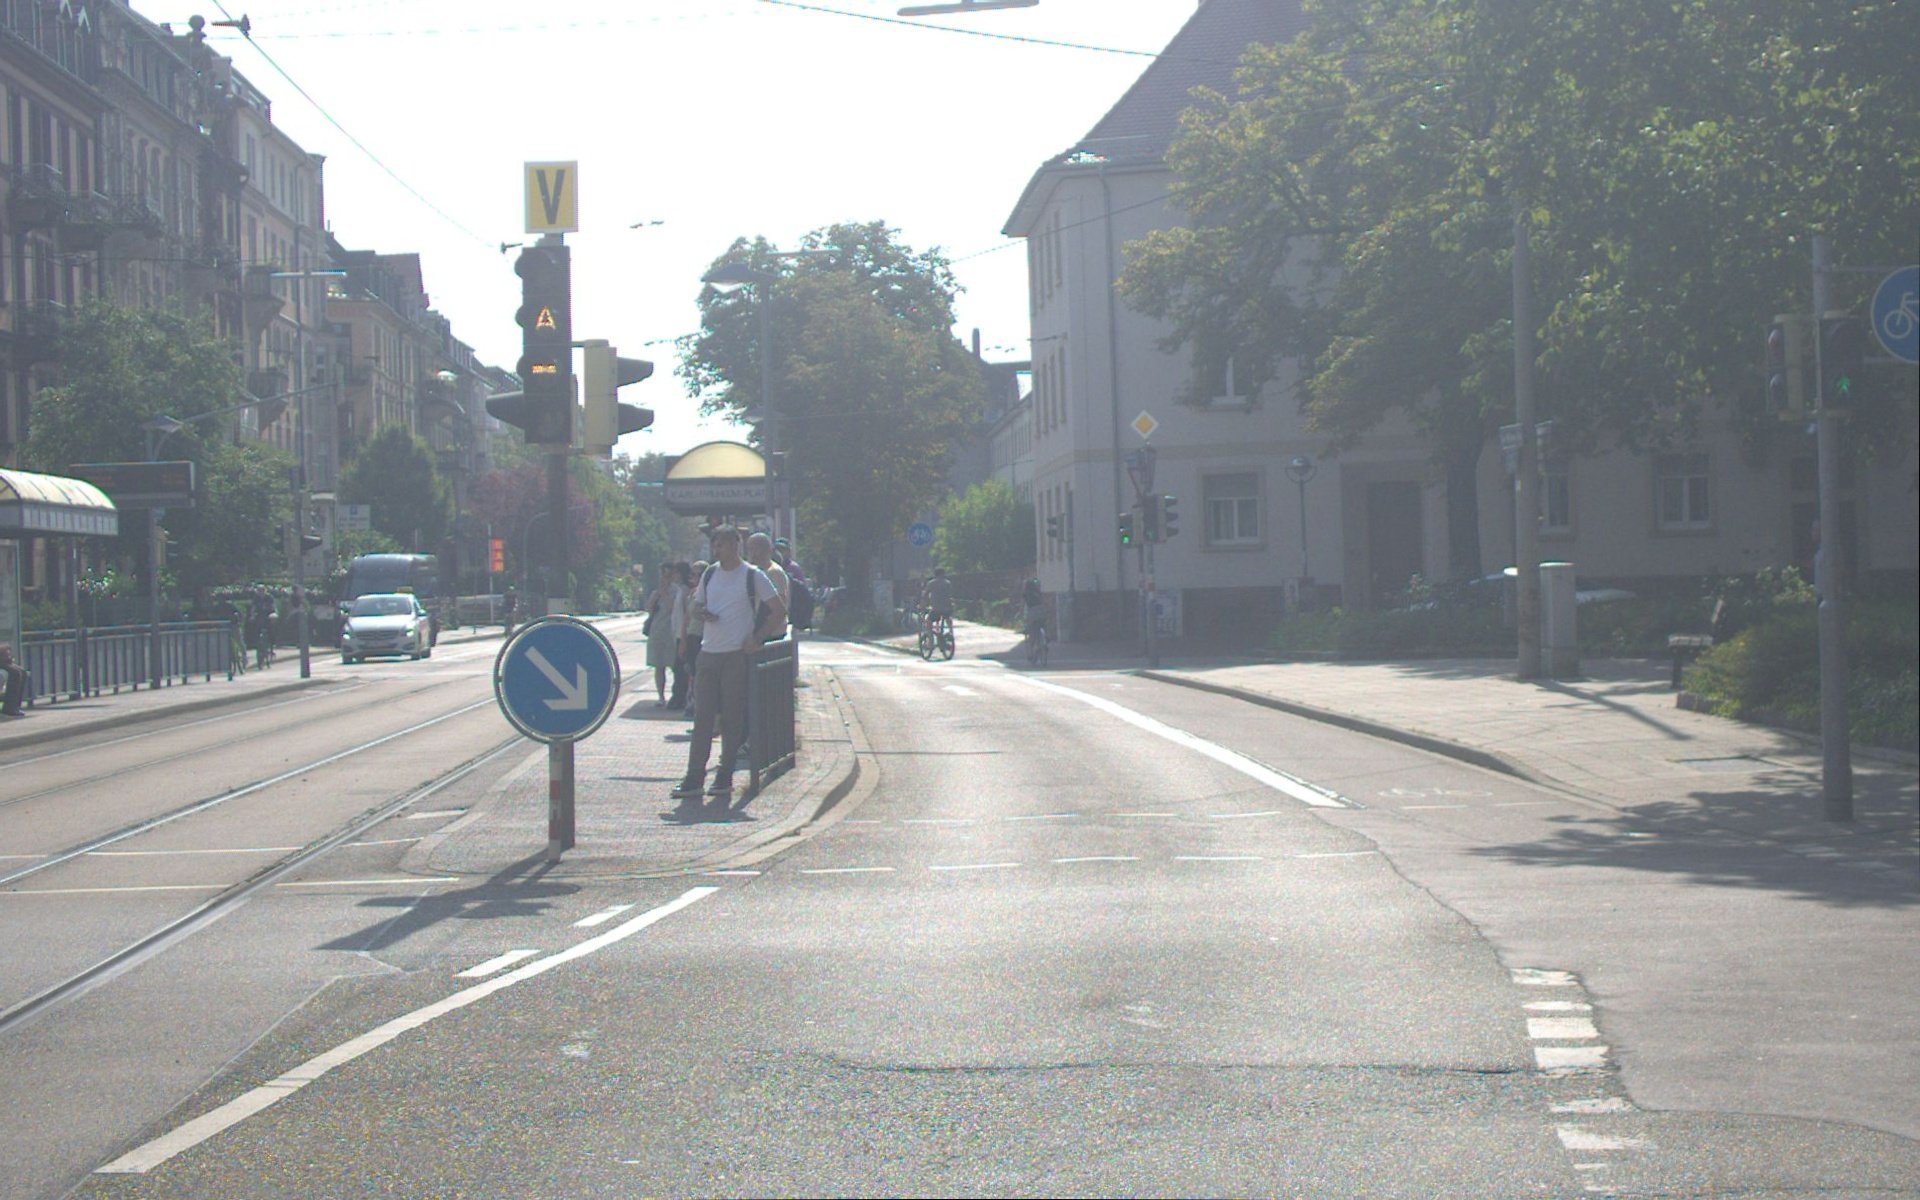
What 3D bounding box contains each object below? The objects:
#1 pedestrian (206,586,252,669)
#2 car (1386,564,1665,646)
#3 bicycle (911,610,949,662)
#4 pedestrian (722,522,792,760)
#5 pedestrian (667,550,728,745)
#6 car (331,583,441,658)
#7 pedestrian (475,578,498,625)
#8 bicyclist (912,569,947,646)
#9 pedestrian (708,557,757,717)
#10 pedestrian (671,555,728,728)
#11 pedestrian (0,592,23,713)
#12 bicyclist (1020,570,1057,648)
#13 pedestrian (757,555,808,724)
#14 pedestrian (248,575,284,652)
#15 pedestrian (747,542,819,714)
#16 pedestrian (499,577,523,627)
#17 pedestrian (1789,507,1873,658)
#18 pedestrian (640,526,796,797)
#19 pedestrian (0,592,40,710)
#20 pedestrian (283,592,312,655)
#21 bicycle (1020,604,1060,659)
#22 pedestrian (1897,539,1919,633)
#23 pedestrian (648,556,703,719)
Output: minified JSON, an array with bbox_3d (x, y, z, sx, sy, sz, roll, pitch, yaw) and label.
[{"bbox_3d":[-15.456,0.573,72.714,0.750,1.725,0.771,-2,0,0],"label":"pedestrian"},{"bbox_3d":[9.781,0.092,59.591,4.331,1.316,1.996,-1,0,37],"label":"car"},{"bbox_3d":[-0.594,0.700,67.944,0.629,0.974,1.770,-2,1,-4],"label":"bicycle"},{"bbox_3d":[-1.589,0.317,26.965,0.504,1.827,0.534,1,3,-2],"label":"pedestrian"},{"bbox_3d":[-2.414,0.428,31.650,0.504,1.753,0.534,1,3,-2],"label":"pedestrian"},{"bbox_3d":[-13.290,0.454,79.819,1.801,1.648,3.642,-2,0,2],"label":"car"},{"bbox_3d":[-17.634,0.058,128.079,0.750,1.725,0.772,-2,0,-11],"label":"pedestrian"},{"bbox_3d":[-0.603,0.142,67.938,0.629,1.502,0.678,-2,0,-4],"label":"bicyclist"},{"bbox_3d":[-2.541,0.406,38.466,0.504,1.753,0.534,1,3,-2],"label":"pedestrian"},{"bbox_3d":[-2.701,0.421,35.653,0.543,1.753,0.534,1,3,-2],"label":"pedestrian"},{"bbox_3d":[-11.160,0.601,39.096,0.827,1.354,0.776,-2,0,-6],"label":"pedestrian"},{"bbox_3d":[1.447,0.164,63.441,0.558,1.412,0.872,-2,0,-4],"label":"bicyclist"},{"bbox_3d":[-1.877,0.410,36.480,0.504,1.753,0.534,1,3,-2],"label":"pedestrian"},{"bbox_3d":[-15.747,0.296,77.976,0.750,1.725,0.772,-2,0,-11],"label":"pedestrian"},{"bbox_3d":[-1.845,0.286,35.862,0.709,1.753,0.534,1,3,-2],"label":"pedestrian"},{"bbox_3d":[-15.705,0.076,120.203,0.750,1.725,0.772,-2,0,-11],"label":"pedestrian"},{"bbox_3d":[10.242,-0.202,40.401,0.892,1.734,0.775,-1,0,16],"label":"pedestrian"},{"bbox_3d":[-1.597,0.388,22.698,0.701,1.719,0.747,3,3,31],"label":"pedestrian"},{"bbox_3d":[-11.220,0.598,40.072,0.827,1.354,0.776,-2,0,-6],"label":"pedestrian"},{"bbox_3d":[-18.358,0.638,95.309,0.750,1.725,0.772,-2,0,-11],"label":"pedestrian"},{"bbox_3d":[1.466,0.576,63.430,0.558,0.974,1.856,-2,1,-4],"label":"bicycle"},{"bbox_3d":[18.034,-0.266,63.878,0.774,1.734,0.893,-2,0,-43],"label":"pedestrian"},{"bbox_3d":[-3.132,0.409,37.871,0.532,1.753,0.545,1,3,-1],"label":"pedestrian"}]
